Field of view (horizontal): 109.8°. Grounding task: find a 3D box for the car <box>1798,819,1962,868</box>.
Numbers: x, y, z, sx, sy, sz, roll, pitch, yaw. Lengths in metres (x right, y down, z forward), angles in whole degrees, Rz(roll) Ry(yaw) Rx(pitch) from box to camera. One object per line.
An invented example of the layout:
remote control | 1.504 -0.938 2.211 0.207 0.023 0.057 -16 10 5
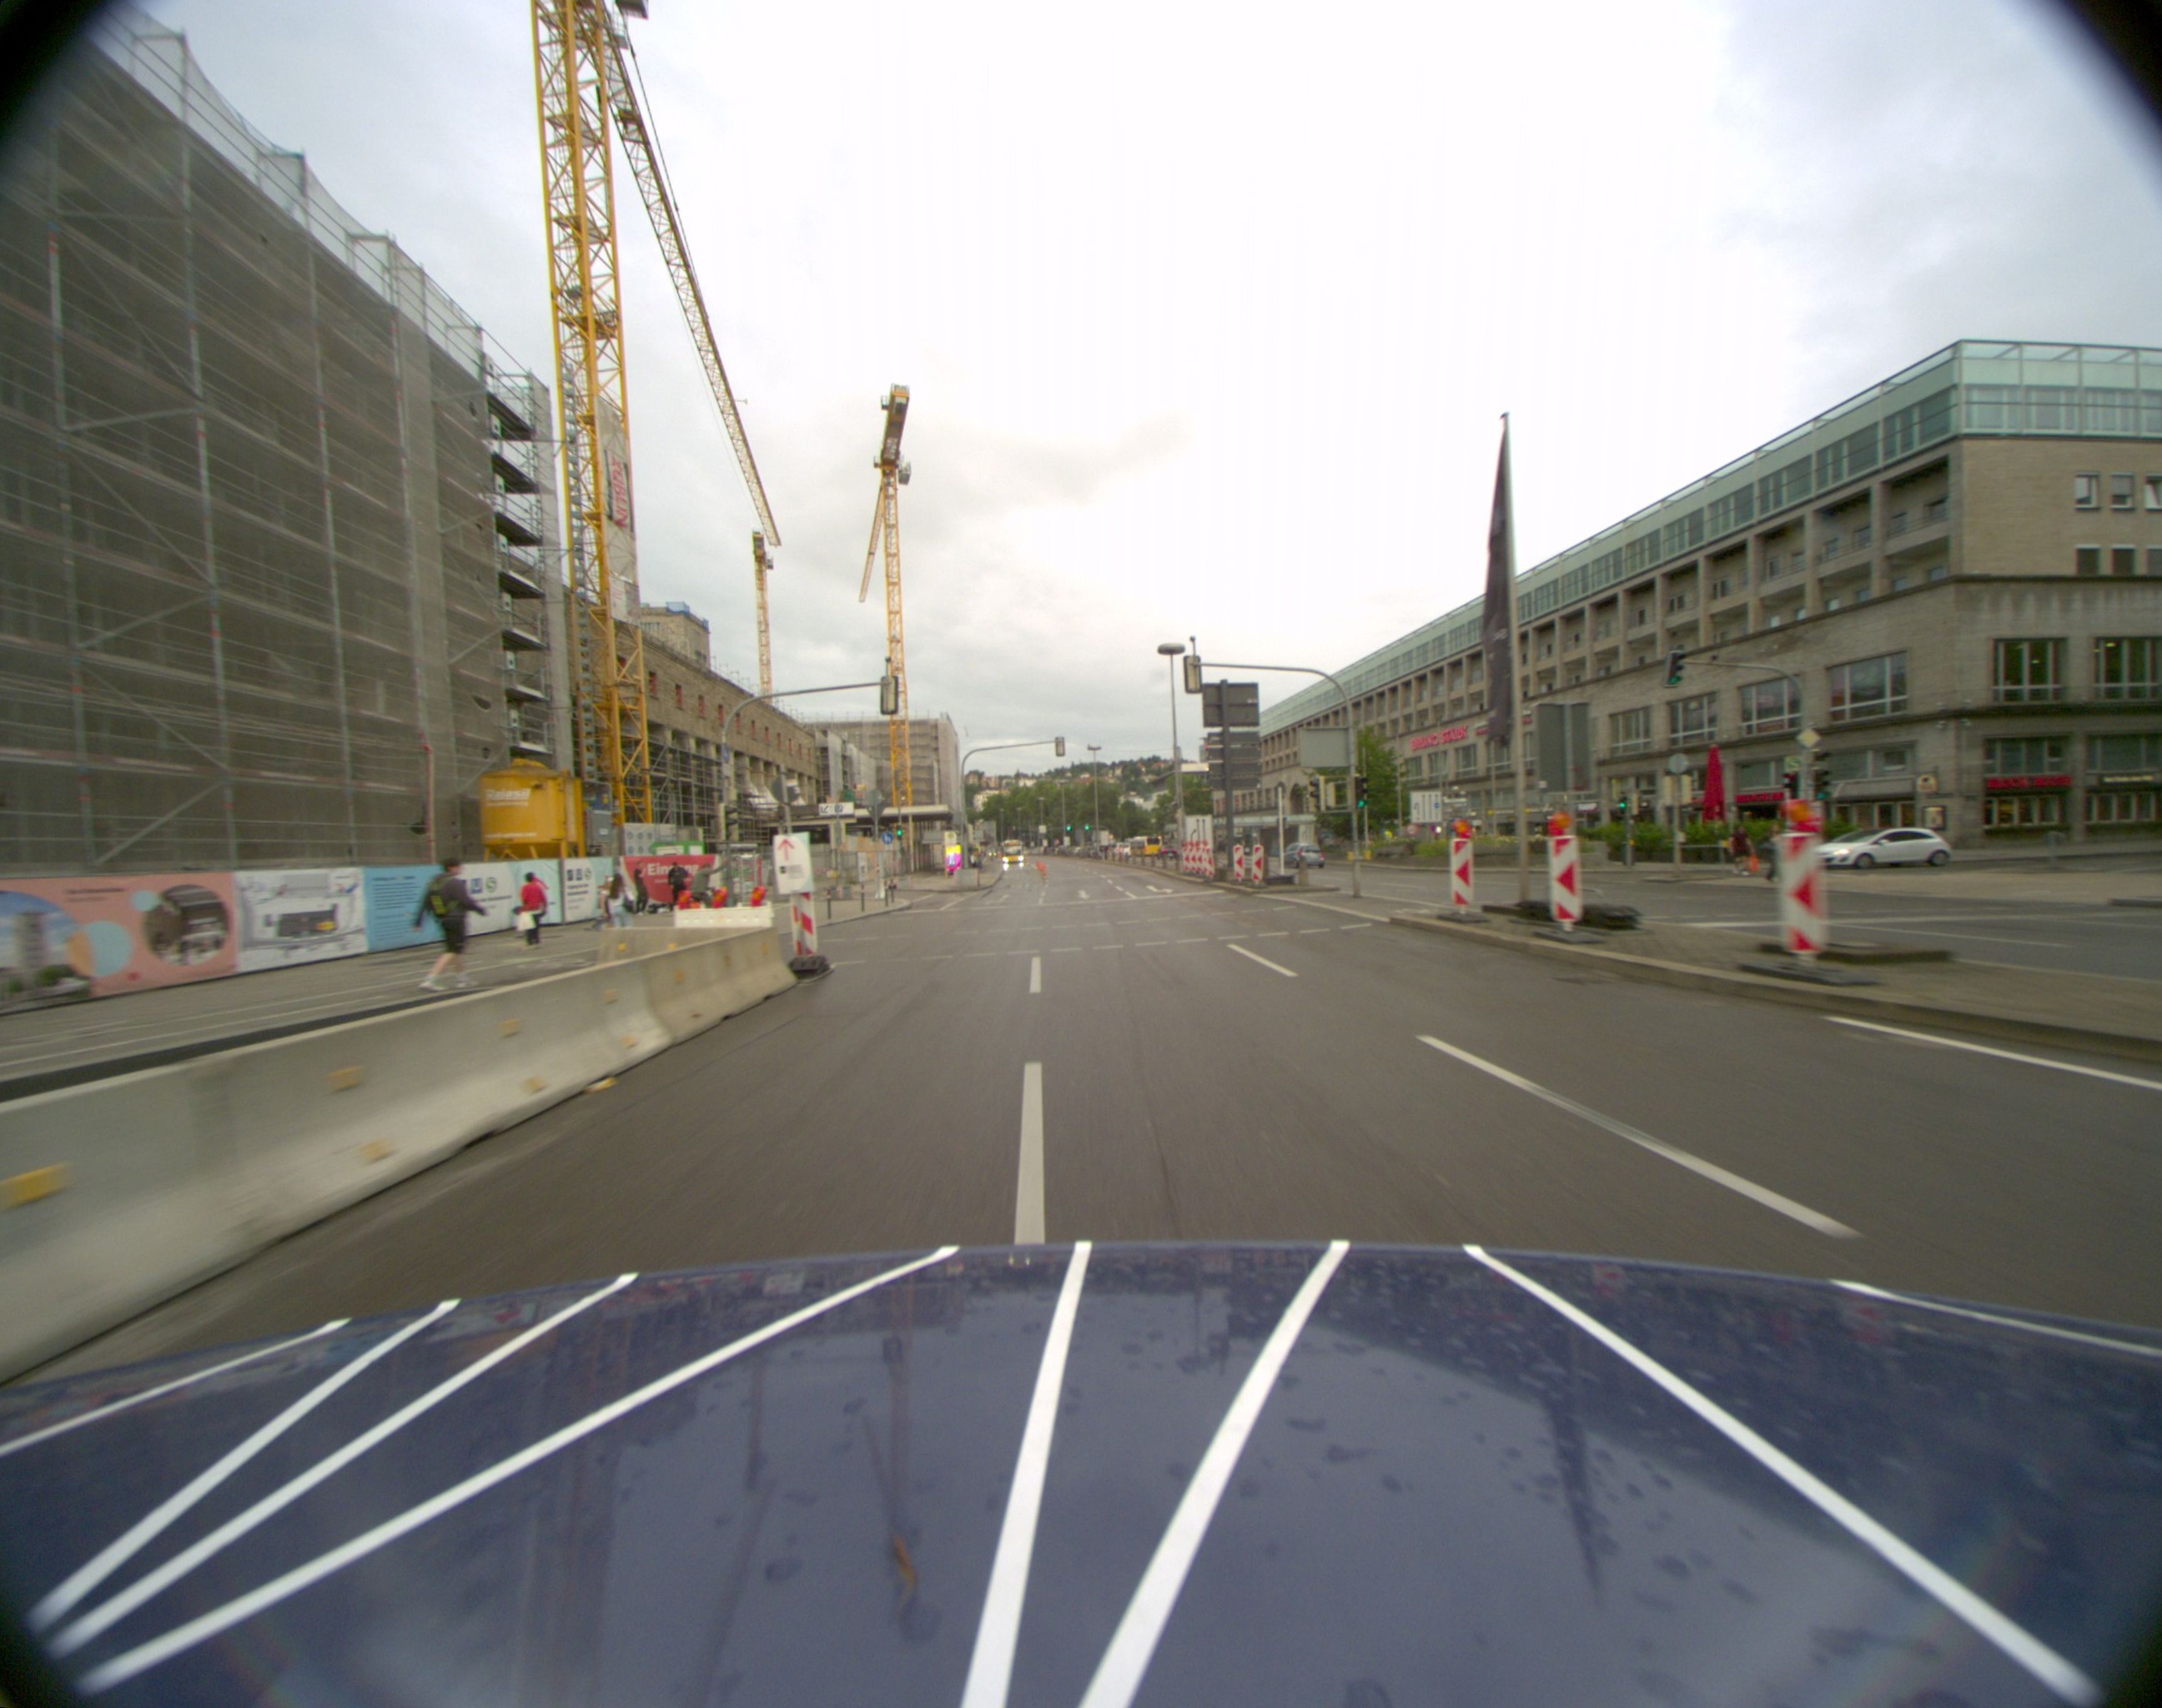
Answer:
car | 29.401 -0.389 28.049 4.090 1.630 1.806 -2 1 1

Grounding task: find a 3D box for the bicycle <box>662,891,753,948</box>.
bicycle | -8.774 1.521 17.966 0.755 1.127 1.994 -2 1 15

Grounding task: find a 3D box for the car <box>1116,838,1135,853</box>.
car | 6.058 -1.220 103.765 2.038 1.962 3.998 -2 1 -5

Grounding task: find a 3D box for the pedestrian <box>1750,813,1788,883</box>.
pedestrian | 19.192 -0.169 21.199 0.715 1.914 0.592 -1 2 37

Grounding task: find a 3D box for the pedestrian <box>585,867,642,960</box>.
pedestrian | -9.287 1.160 15.130 0.806 1.746 0.814 0 3 -21

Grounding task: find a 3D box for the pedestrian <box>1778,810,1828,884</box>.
pedestrian | 19.301 -0.186 20.312 0.591 1.914 0.751 -2 1 -4

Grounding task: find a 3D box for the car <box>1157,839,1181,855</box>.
car | 10.002 -0.802 86.526 1.887 1.674 3.997 -2 1 -6

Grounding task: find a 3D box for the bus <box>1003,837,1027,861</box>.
bus | -9.189 -0.733 105.040 3.000 3.120 7.759 -2 1 -6

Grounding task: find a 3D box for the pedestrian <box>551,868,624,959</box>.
pedestrian | -10.005 1.179 15.431 0.815 1.746 0.881 -2 1 1

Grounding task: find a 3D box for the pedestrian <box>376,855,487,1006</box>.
pedestrian | -9.019 1.042 10.588 0.788 1.999 0.866 -2 -2 6

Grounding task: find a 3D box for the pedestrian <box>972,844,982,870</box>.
pedestrian | -8.147 0.211 59.477 0.735 2.002 0.645 -2 1 -10

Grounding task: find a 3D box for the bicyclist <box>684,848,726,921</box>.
bicyclist | -8.834 0.711 17.846 0.696 1.695 0.434 -2 1 14

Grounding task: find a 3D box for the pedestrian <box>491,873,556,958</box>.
pedestrian | -11.994 1.302 16.369 0.714 1.717 0.743 -3 1 1

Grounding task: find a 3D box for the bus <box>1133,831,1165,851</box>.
bus | 10.555 -1.953 119.157 2.910 2.923 9.815 -2 1 -7

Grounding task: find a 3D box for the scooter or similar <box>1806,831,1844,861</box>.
scooter or similar | 30.751 -0.330 31.412 0.426 1.237 1.048 -3 1 -29

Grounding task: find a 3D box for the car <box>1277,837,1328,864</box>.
car | 13.818 -0.235 47.632 1.759 1.612 3.998 -2 1 -5

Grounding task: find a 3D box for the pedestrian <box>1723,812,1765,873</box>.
pedestrian | 22.514 -0.381 25.803 0.705 2.002 0.807 -2 1 -4

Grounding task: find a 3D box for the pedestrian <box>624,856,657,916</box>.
pedestrian | -14.931 1.087 25.772 0.640 2.002 0.629 -2 1 20

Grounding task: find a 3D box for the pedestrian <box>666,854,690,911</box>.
pedestrian | -14.539 1.031 27.414 0.629 2.002 0.577 -3 2 -36

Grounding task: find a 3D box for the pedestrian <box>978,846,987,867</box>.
pedestrian | -8.759 0.212 67.432 0.646 1.813 0.735 -2 1 0
